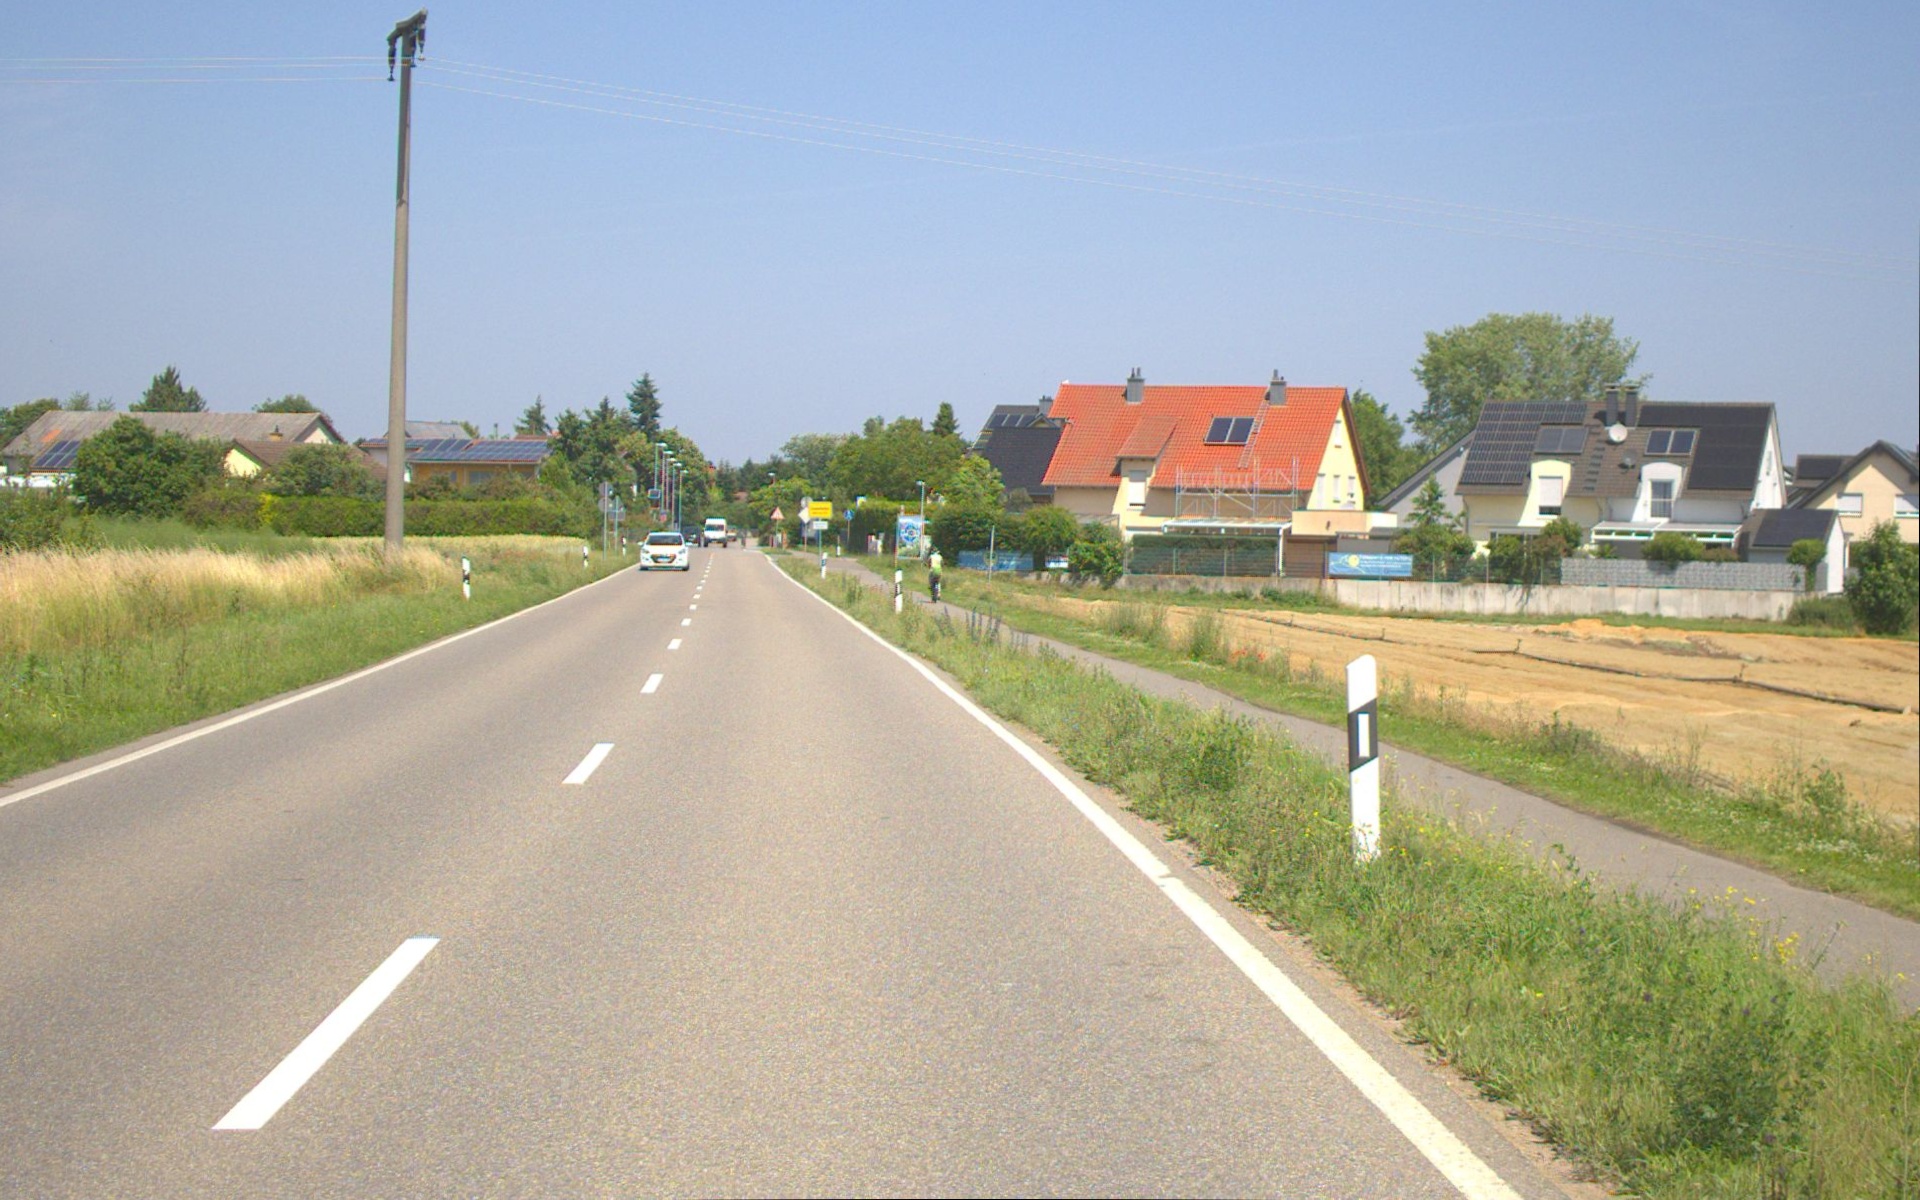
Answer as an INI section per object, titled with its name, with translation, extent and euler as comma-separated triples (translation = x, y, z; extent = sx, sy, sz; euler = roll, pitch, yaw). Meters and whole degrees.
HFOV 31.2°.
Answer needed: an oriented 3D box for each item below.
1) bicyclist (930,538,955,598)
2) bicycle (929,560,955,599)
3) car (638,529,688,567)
[bicyclist]
translation = -0.569, -1.032, 110.253
extent = 0.645, 1.883, 0.861
euler = 3, 2, -4
[bicycle]
translation = -0.595, -0.672, 110.416
extent = 0.610, 1.154, 2.275
euler = 3, 2, -5
[car]
translation = -11.223, -1.975, 130.081
extent = 1.791, 1.404, 4.186
euler = 1, 1, -4
